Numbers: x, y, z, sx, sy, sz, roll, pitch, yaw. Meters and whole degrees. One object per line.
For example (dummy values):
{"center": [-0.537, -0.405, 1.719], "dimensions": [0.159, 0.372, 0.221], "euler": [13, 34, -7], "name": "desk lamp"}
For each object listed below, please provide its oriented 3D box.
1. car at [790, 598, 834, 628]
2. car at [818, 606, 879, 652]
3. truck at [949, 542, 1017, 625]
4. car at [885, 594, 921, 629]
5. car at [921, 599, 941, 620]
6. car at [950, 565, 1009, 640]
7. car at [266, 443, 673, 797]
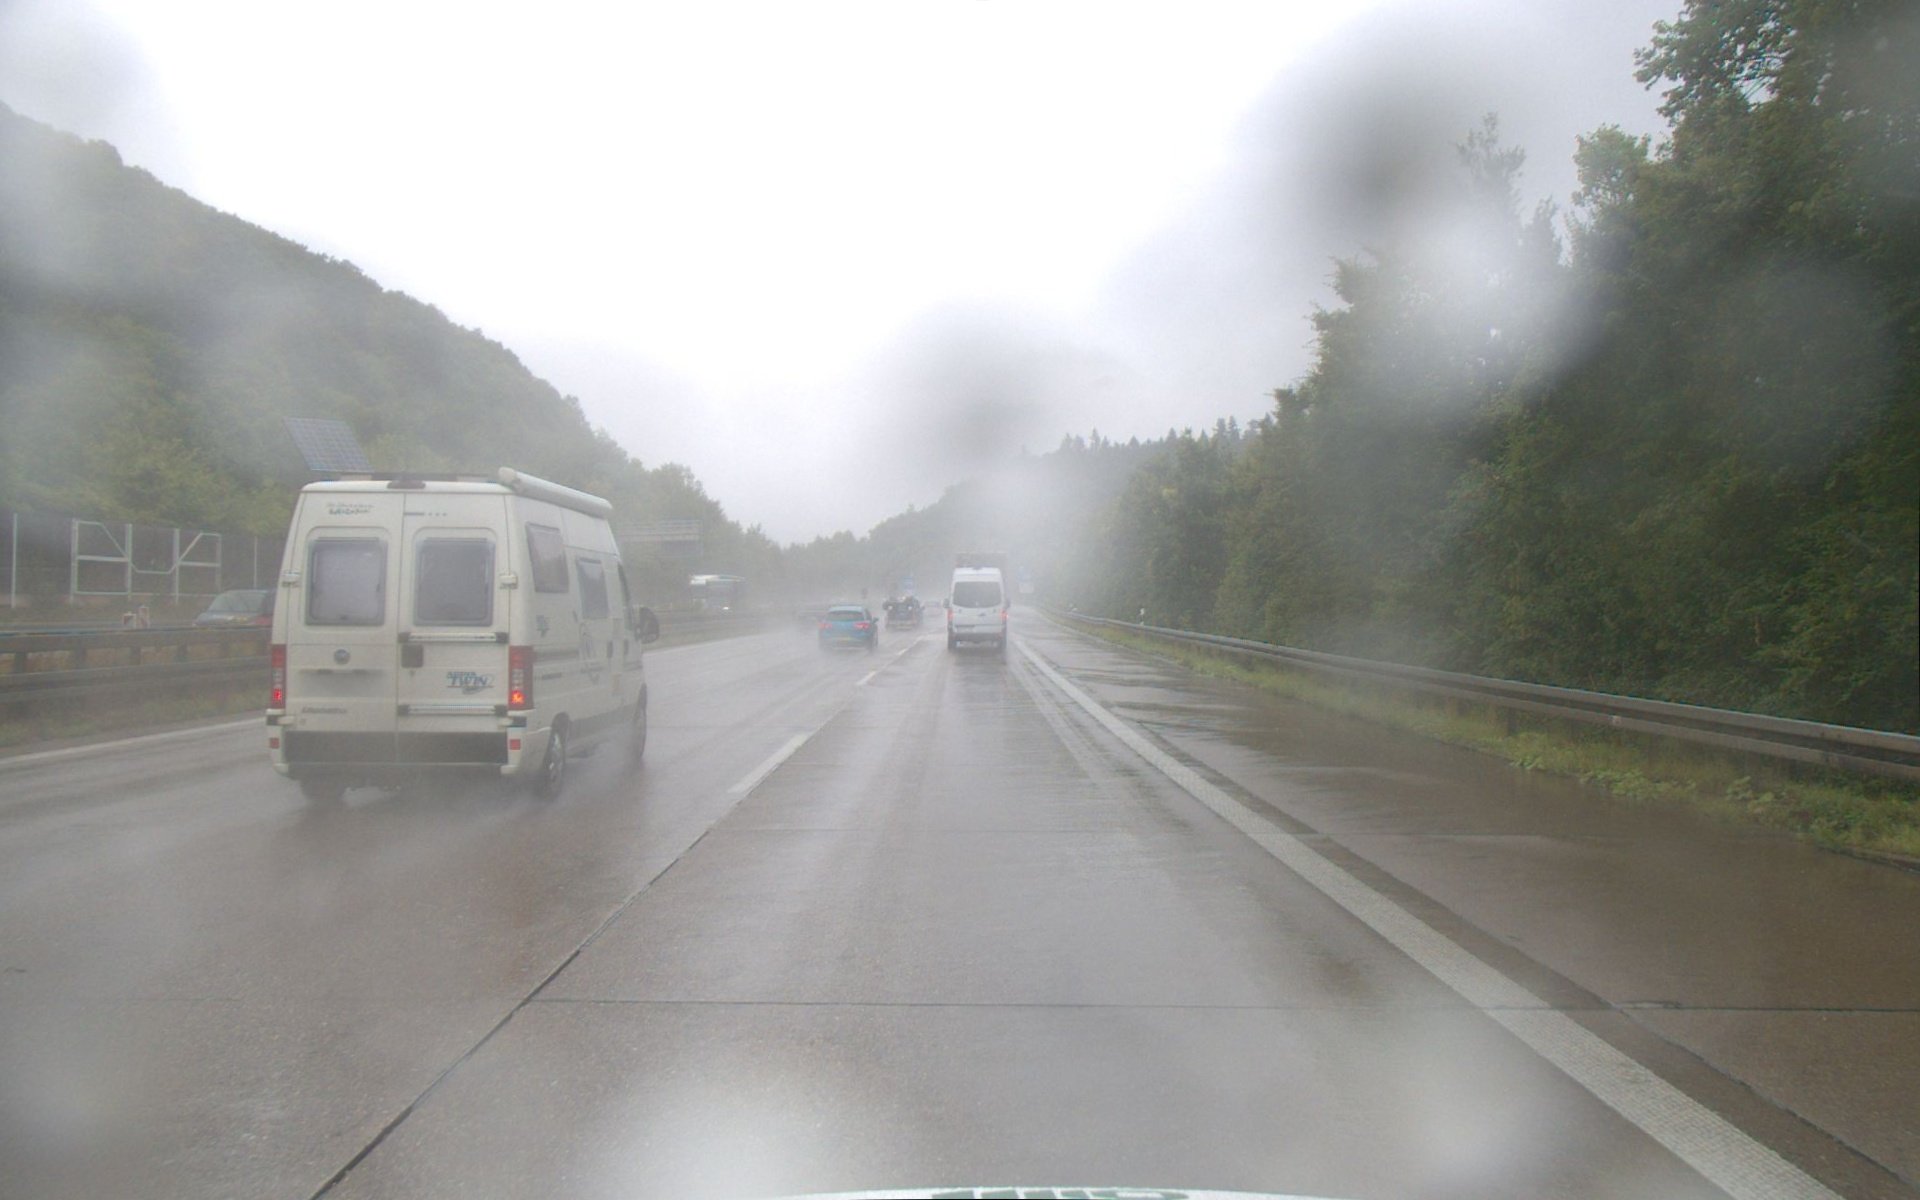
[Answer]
{"center": [-6.995, 0.588, 78.630], "dimensions": [1.819, 1.362, 4.349], "euler": [1, 0, -2], "name": "car"}
{"center": [-3.531, 0.901, 53.117], "dimensions": [1.819, 1.362, 4.349], "euler": [1, 0, -2], "name": "car"}
{"center": [1.168, -0.977, 86.773], "dimensions": [3.315, 4.037, 8.668], "euler": [-1, 2, 0], "name": "truck"}
{"center": [-3.075, 0.602, 90.295], "dimensions": [1.830, 1.841, 4.188], "euler": [1, 0, 0], "name": "car"}
{"center": [-2.329, 0.762, 134.827], "dimensions": [1.581, 1.656, 4.188], "euler": [1, 0, 0], "name": "car"}
{"center": [0.612, 0.073, 55.687], "dimensions": [1.861, 2.374, 5.250], "euler": [1, 0, 0], "name": "car"}
{"center": [-3.973, 0.133, 14.612], "dimensions": [1.957, 2.474, 5.789], "euler": [1, 0, -1], "name": "car"}
